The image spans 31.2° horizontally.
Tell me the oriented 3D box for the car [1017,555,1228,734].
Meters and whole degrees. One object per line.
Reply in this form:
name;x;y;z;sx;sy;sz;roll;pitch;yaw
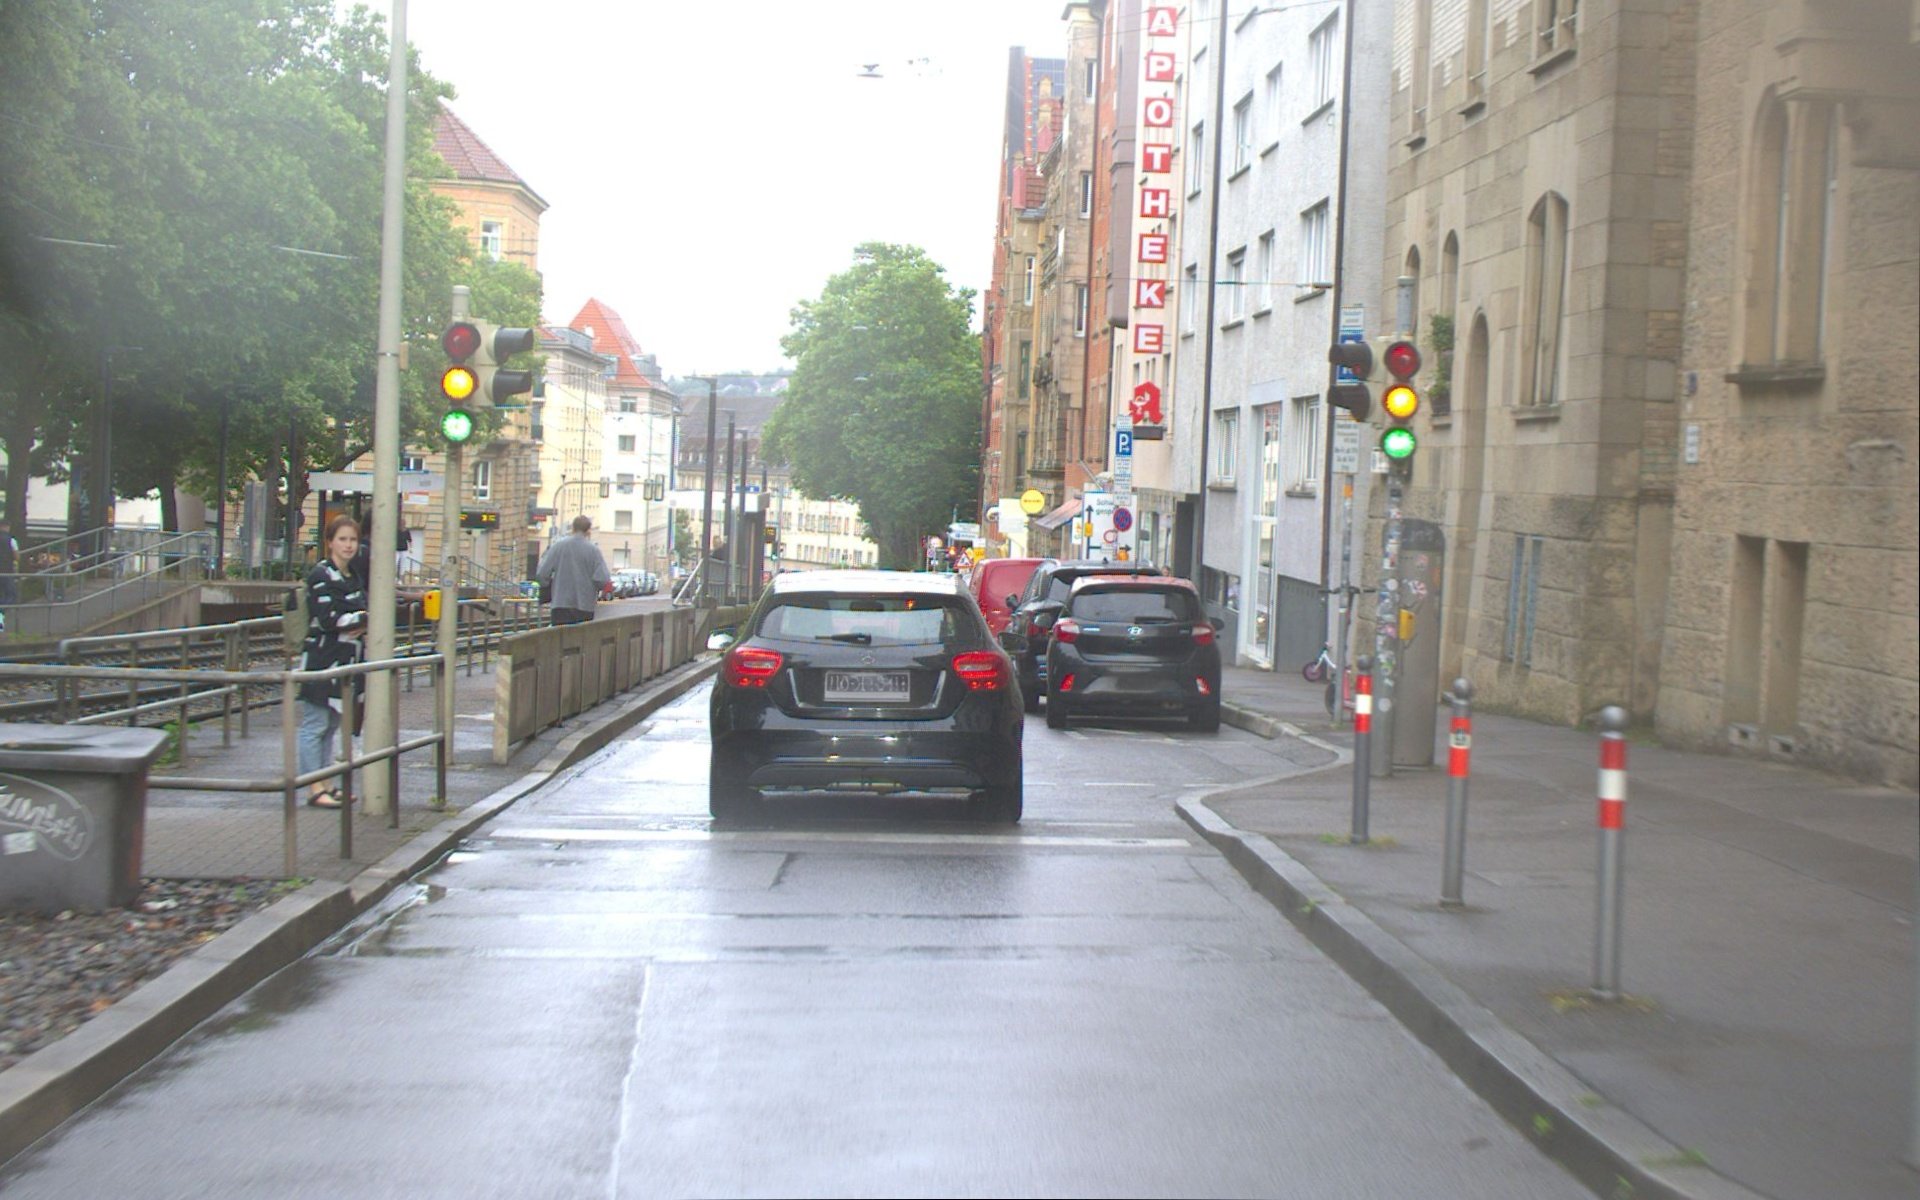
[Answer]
car;1.569;0.399;34.398;1.827;1.612;3.864;0;2;-1

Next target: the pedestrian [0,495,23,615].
pedestrian;-14.187;-0.672;50.629;0.534;1.748;0.607;4;1;-1

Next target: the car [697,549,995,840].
car;-0.687;0.486;20.442;1.580;1.499;3.575;2;1;-2

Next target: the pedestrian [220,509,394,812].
pedestrian;-3.598;0.314;18.998;0.806;1.628;0.892;0;2;-1

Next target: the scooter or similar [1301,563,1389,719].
scooter or similar;3.438;0.348;30.808;0.448;1.316;1.778;0;2;-4

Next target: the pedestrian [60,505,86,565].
pedestrian;-23.698;-1.729;91.885;0.519;1.590;0.600;1;1;-1

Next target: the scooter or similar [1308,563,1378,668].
scooter or similar;4.990;0.189;44.896;0.448;1.316;1.778;0;2;-9

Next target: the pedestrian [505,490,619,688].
pedestrian;-4.079;-0.128;35.347;1.137;1.991;1.173;0;2;-5

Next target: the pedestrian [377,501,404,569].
pedestrian;-14.636;-1.662;88.402;0.518;1.711;0.551;4;1;-1

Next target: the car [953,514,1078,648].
car;0.834;-0.335;54.057;1.759;2.006;4.001;0;2;-2

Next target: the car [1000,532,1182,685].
car;1.414;0.050;38.589;1.759;1.573;4.001;0;2;-2

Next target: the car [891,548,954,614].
car;-1.222;-0.637;111.642;1.993;2.006;4.001;0;2;-1

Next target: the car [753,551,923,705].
car;-1.370;0.274;39.039;1.785;1.575;4.001;2;1;-2
